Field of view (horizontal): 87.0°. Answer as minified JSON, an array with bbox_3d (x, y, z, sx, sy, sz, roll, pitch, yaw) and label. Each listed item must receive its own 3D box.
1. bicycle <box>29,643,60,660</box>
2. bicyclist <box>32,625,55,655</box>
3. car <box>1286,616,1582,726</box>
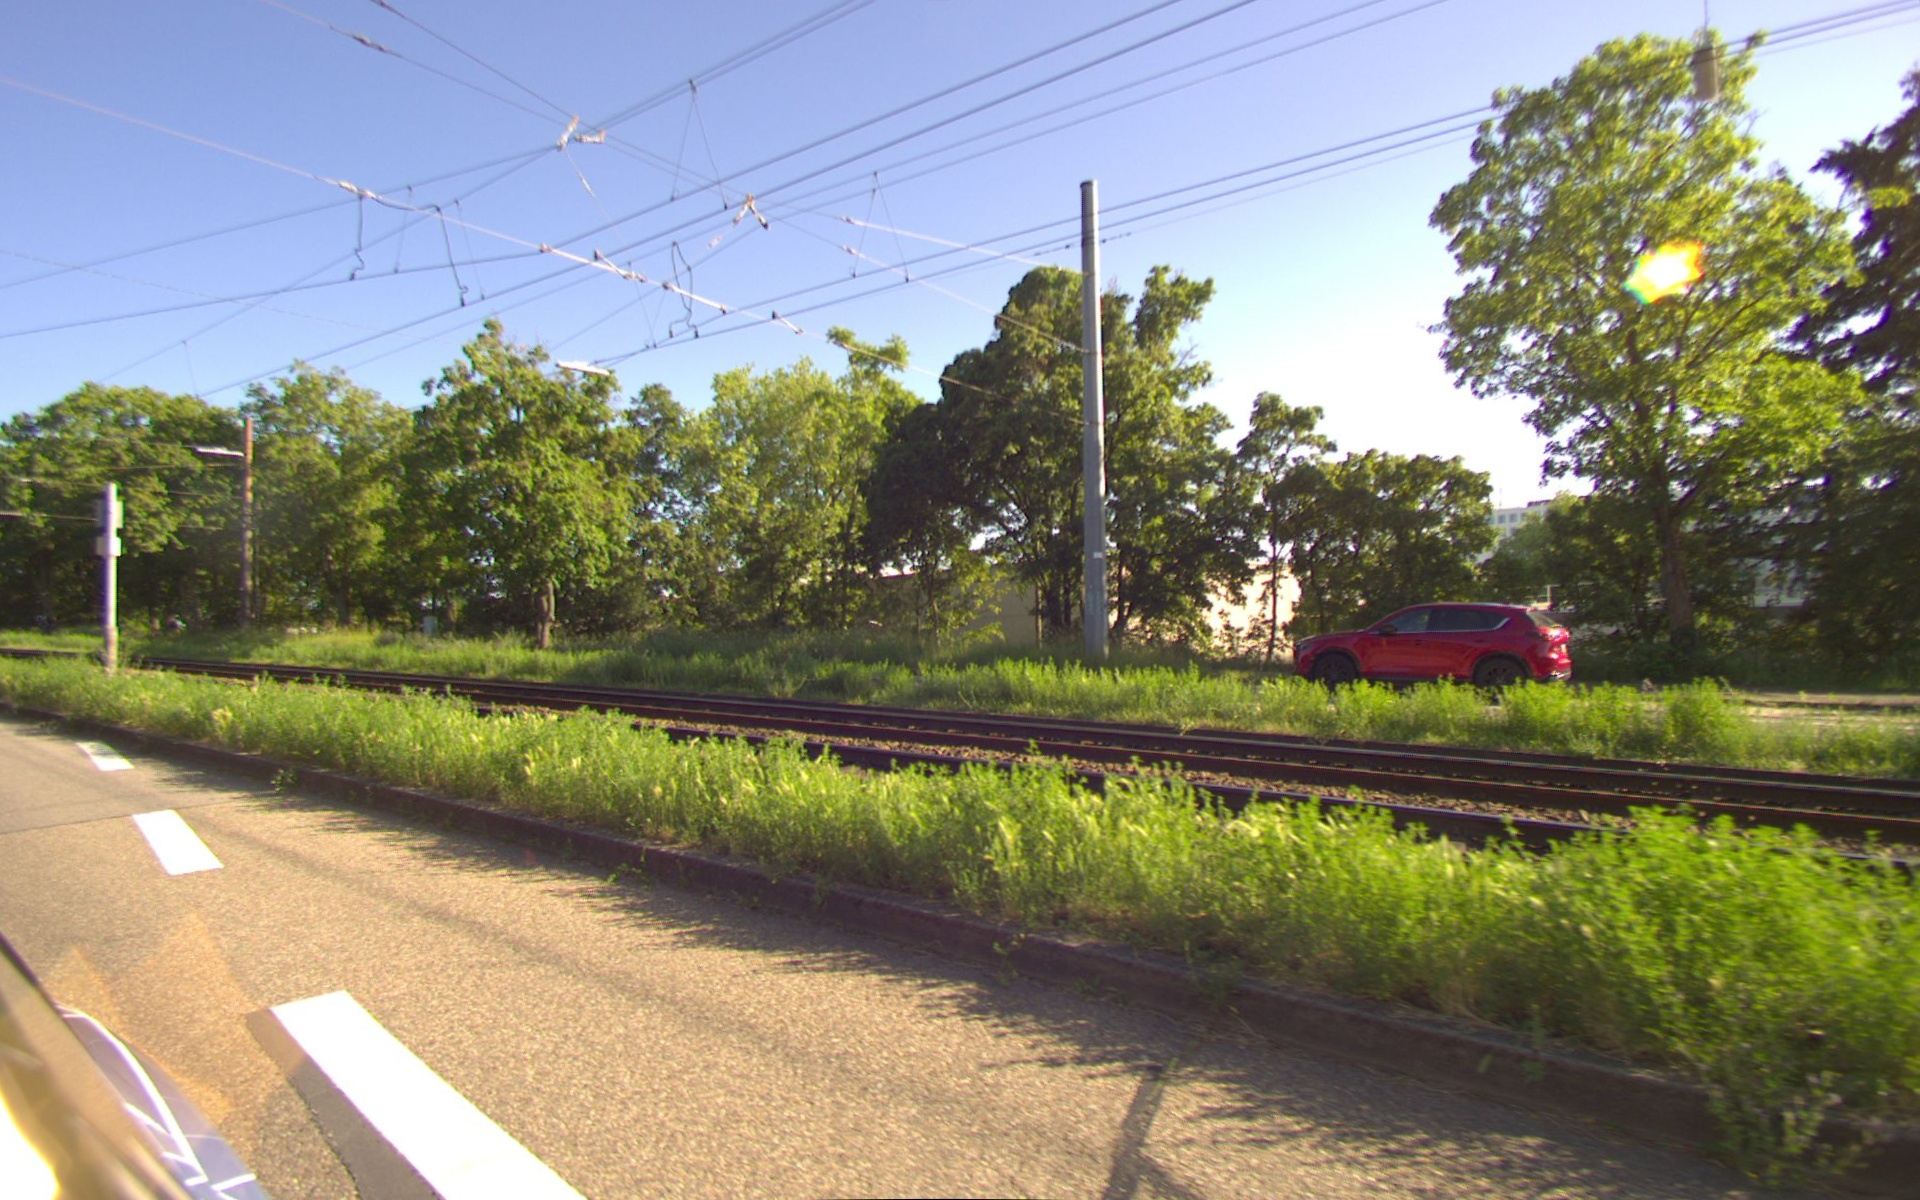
[{"bbox_3d":[-54.612,3.051,60.381,2.531,0.921,0.811,-1,-1,34],"label":"bicycle"},{"bbox_3d":[-54.788,2.361,60.498,0.900,1.749,0.812,-1,-1,34],"label":"bicyclist"},{"bbox_3d":[8.358,1.161,18.040,4.460,1.715,1.985,-1,-1,38],"label":"car"}]
